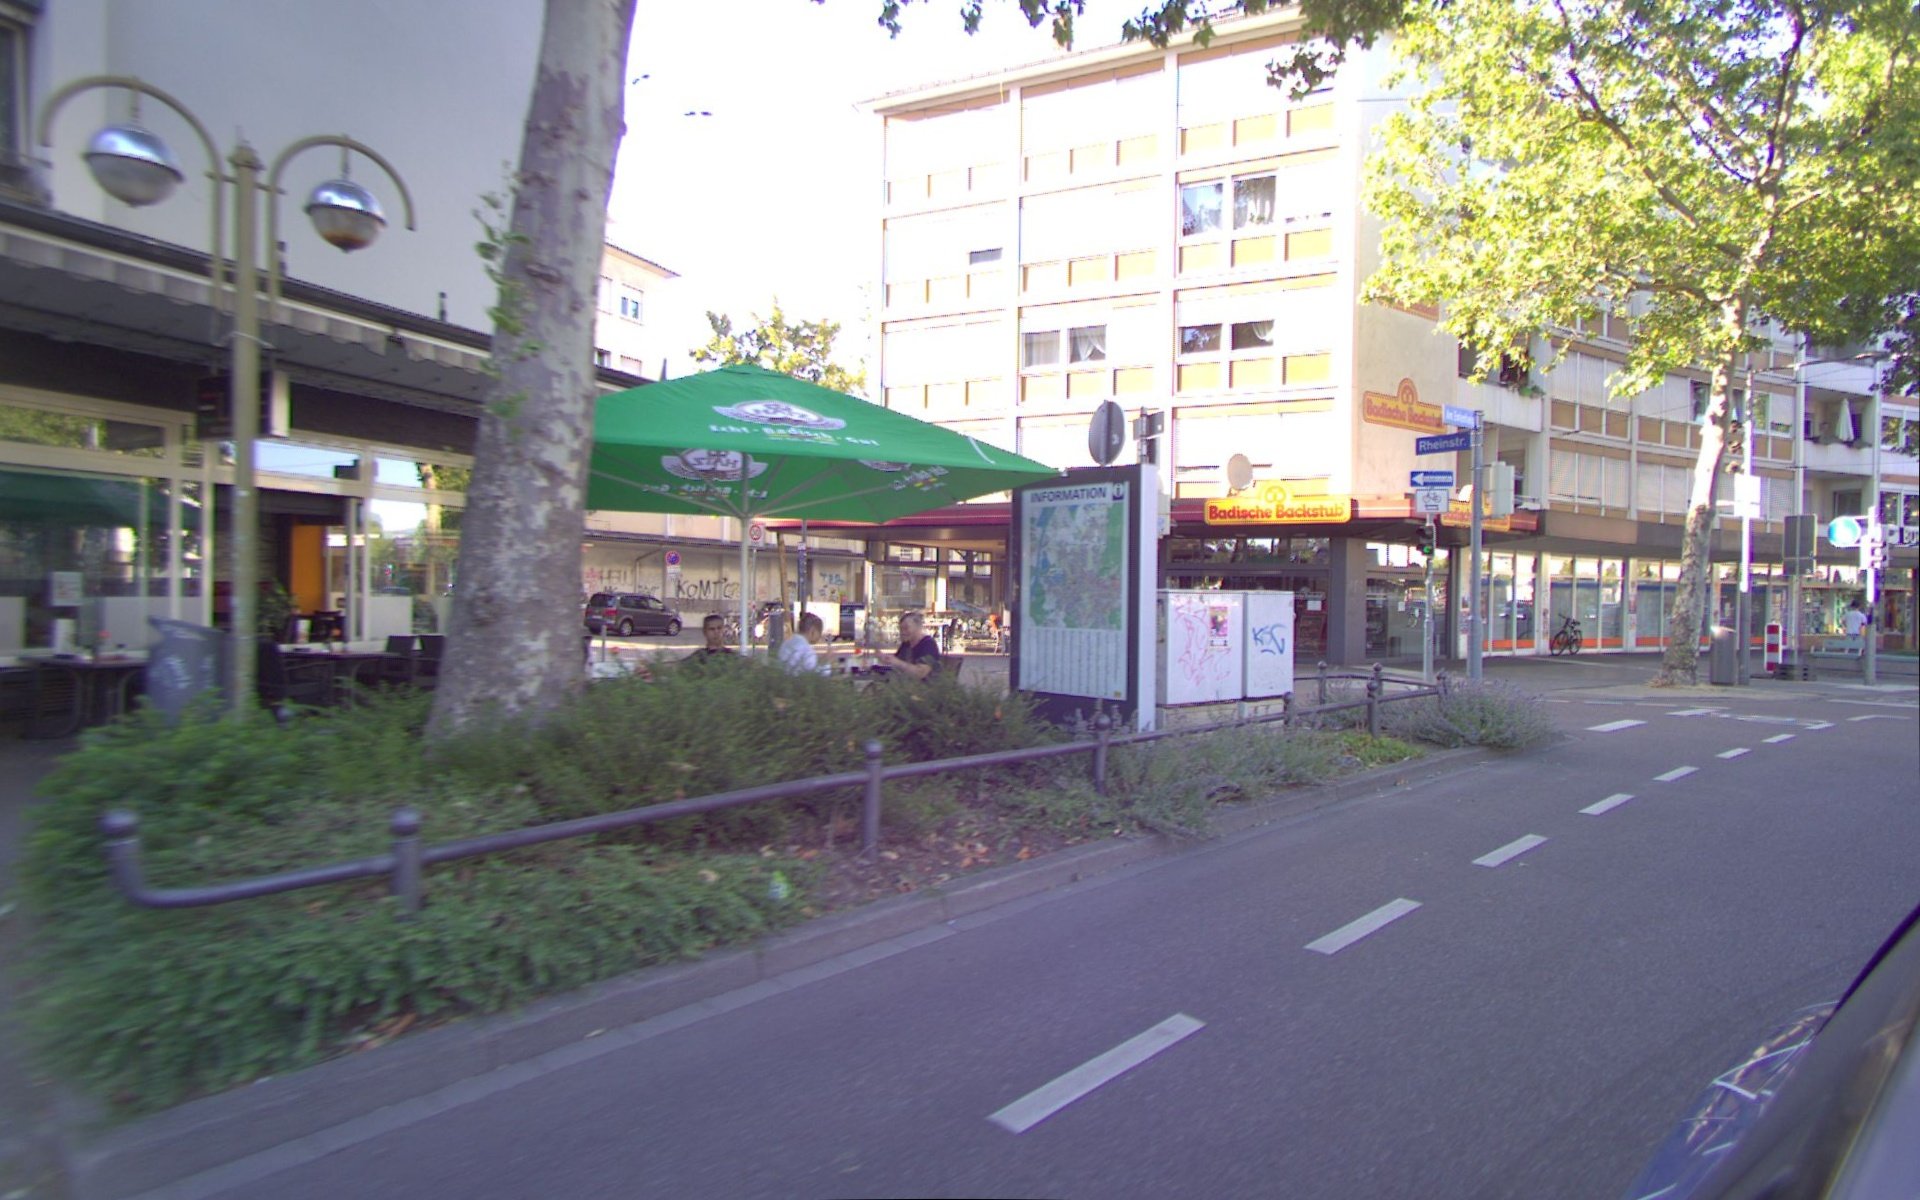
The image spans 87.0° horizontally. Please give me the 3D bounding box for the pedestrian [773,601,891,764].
[{"bbox_3d":[-1.101,0.664,8.661,0.753,1.302,0.720,1,0,-32],"label":"pedestrian"}]

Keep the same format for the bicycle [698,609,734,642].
[{"bbox_3d":[-7.815,0.808,32.447,0.384,1.013,1.419,1,0,21],"label":"bicycle"}]

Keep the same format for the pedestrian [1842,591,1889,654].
[{"bbox_3d":[26.022,0.629,29.079,0.883,1.779,0.751,1,0,-29],"label":"pedestrian"}]

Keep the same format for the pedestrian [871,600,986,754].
[{"bbox_3d":[-0.291,0.658,9.141,0.753,1.302,0.720,1,0,-34],"label":"pedestrian"}]

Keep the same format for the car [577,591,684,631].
[{"bbox_3d":[-12.847,0.403,39.699,1.722,1.505,3.961,0,0,28],"label":"car"}]

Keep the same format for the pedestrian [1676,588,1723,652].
[{"bbox_3d":[21.003,0.566,28.746,0.883,1.779,0.751,1,0,-29],"label":"pedestrian"}]

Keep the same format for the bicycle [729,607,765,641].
[{"bbox_3d":[-6.730,0.748,32.017,0.384,1.013,1.419,1,0,21],"label":"bicycle"}]

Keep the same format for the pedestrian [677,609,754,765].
[{"bbox_3d":[-2.054,0.711,8.521,0.426,1.234,0.466,2,1,15],"label":"pedestrian"}]

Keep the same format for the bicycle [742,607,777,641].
[{"bbox_3d":[-6.312,0.742,31.868,0.384,1.013,1.419,1,0,21],"label":"bicycle"}]

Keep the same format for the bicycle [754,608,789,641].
[{"bbox_3d":[-5.905,0.755,31.701,0.384,1.013,1.419,1,0,21],"label":"bicycle"}]

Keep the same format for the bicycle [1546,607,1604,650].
[{"bbox_3d":[16.949,0.778,27.863,1.935,1.157,0.530,1,0,-32],"label":"bicycle"}]

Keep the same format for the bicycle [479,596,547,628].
[{"bbox_3d":[-16.722,0.421,37.950,0.709,1.131,2.520,2,1,24],"label":"bicycle"}]
